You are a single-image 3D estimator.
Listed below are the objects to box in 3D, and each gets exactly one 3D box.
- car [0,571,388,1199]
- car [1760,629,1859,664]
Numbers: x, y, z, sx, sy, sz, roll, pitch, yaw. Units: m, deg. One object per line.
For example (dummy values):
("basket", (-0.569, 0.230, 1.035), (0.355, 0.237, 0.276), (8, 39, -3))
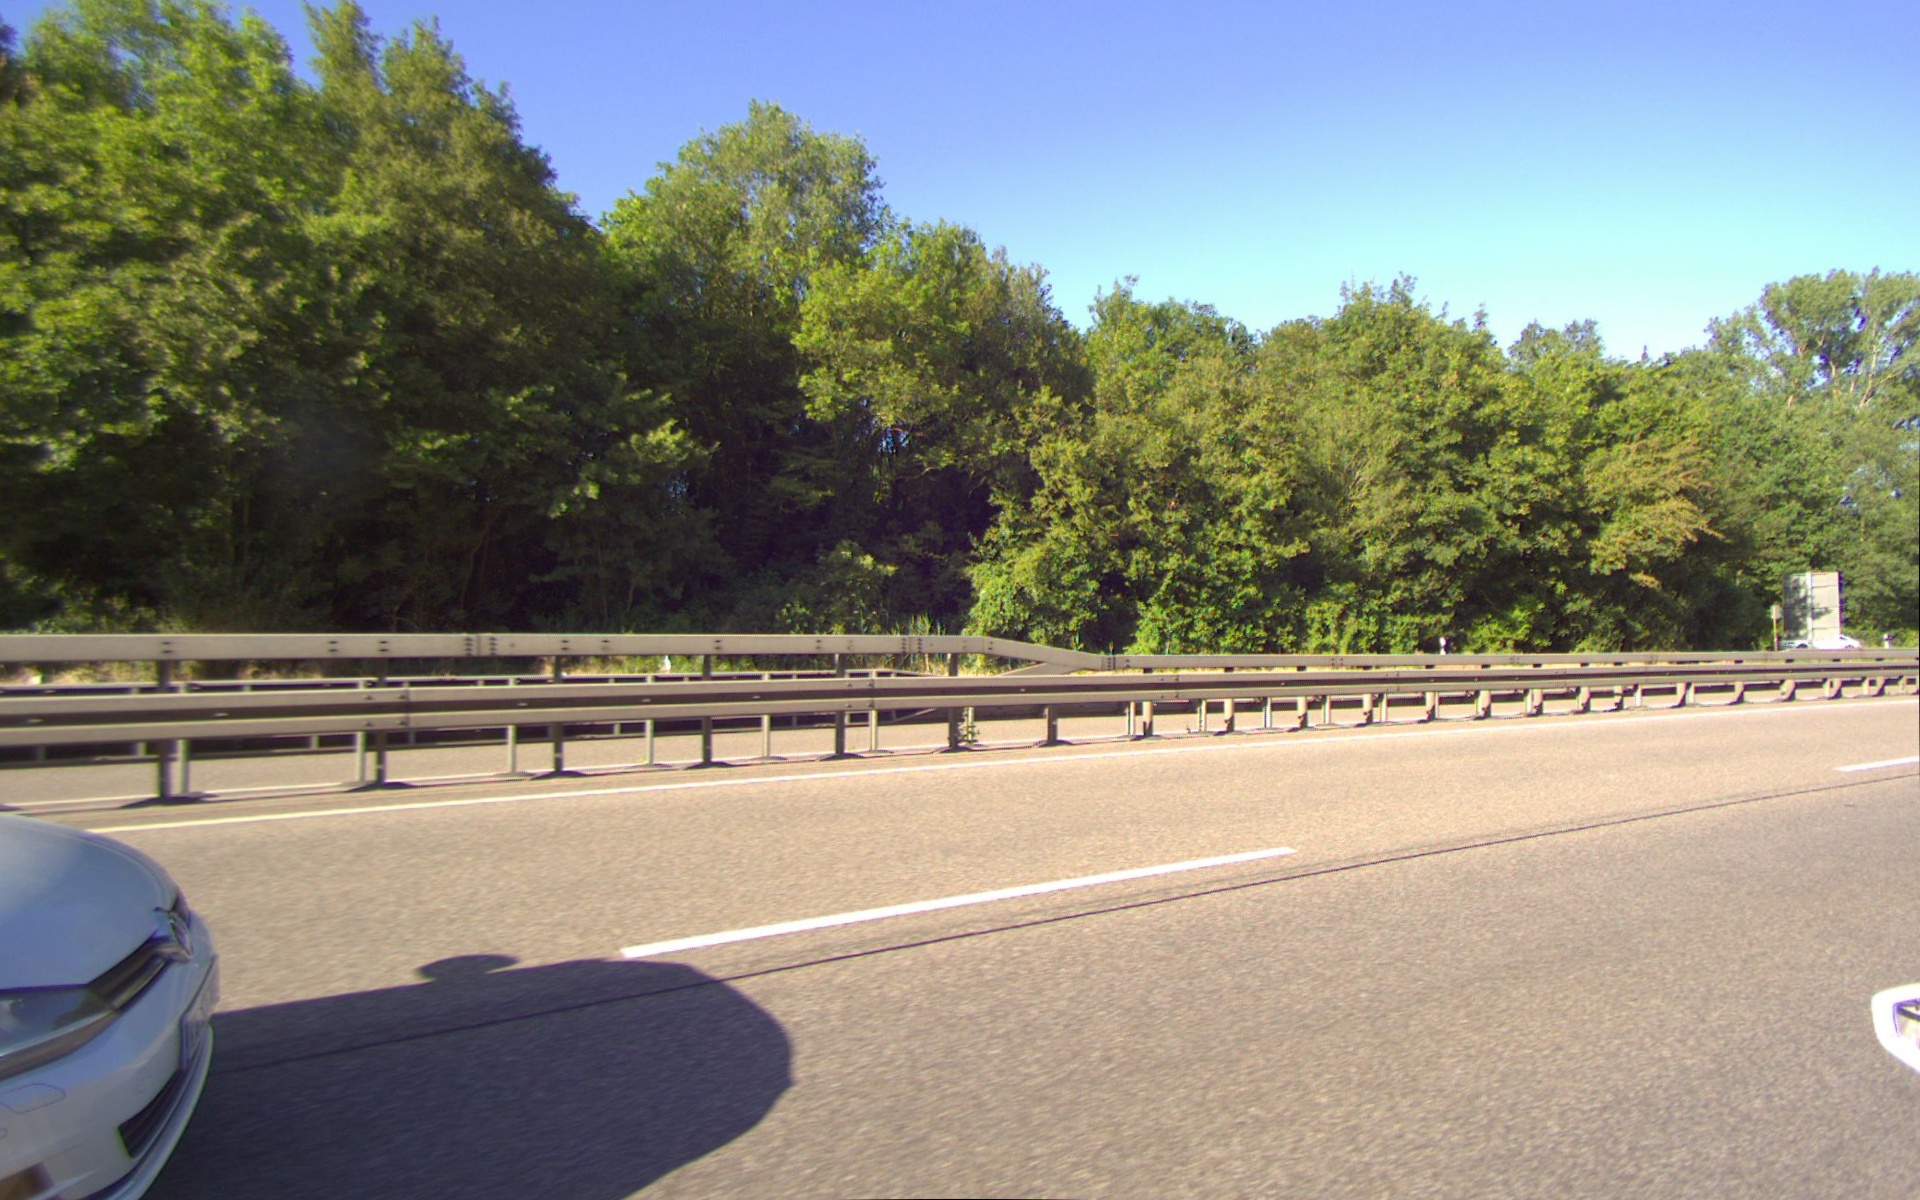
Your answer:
("car", (-3.958, 0.671, 1.320), (5.533, 1.528, 1.920), (1, 0, -30))
("car", (54.157, 2.937, 64.092), (4.535, 2.040, 2.001), (2, -1, 4))
